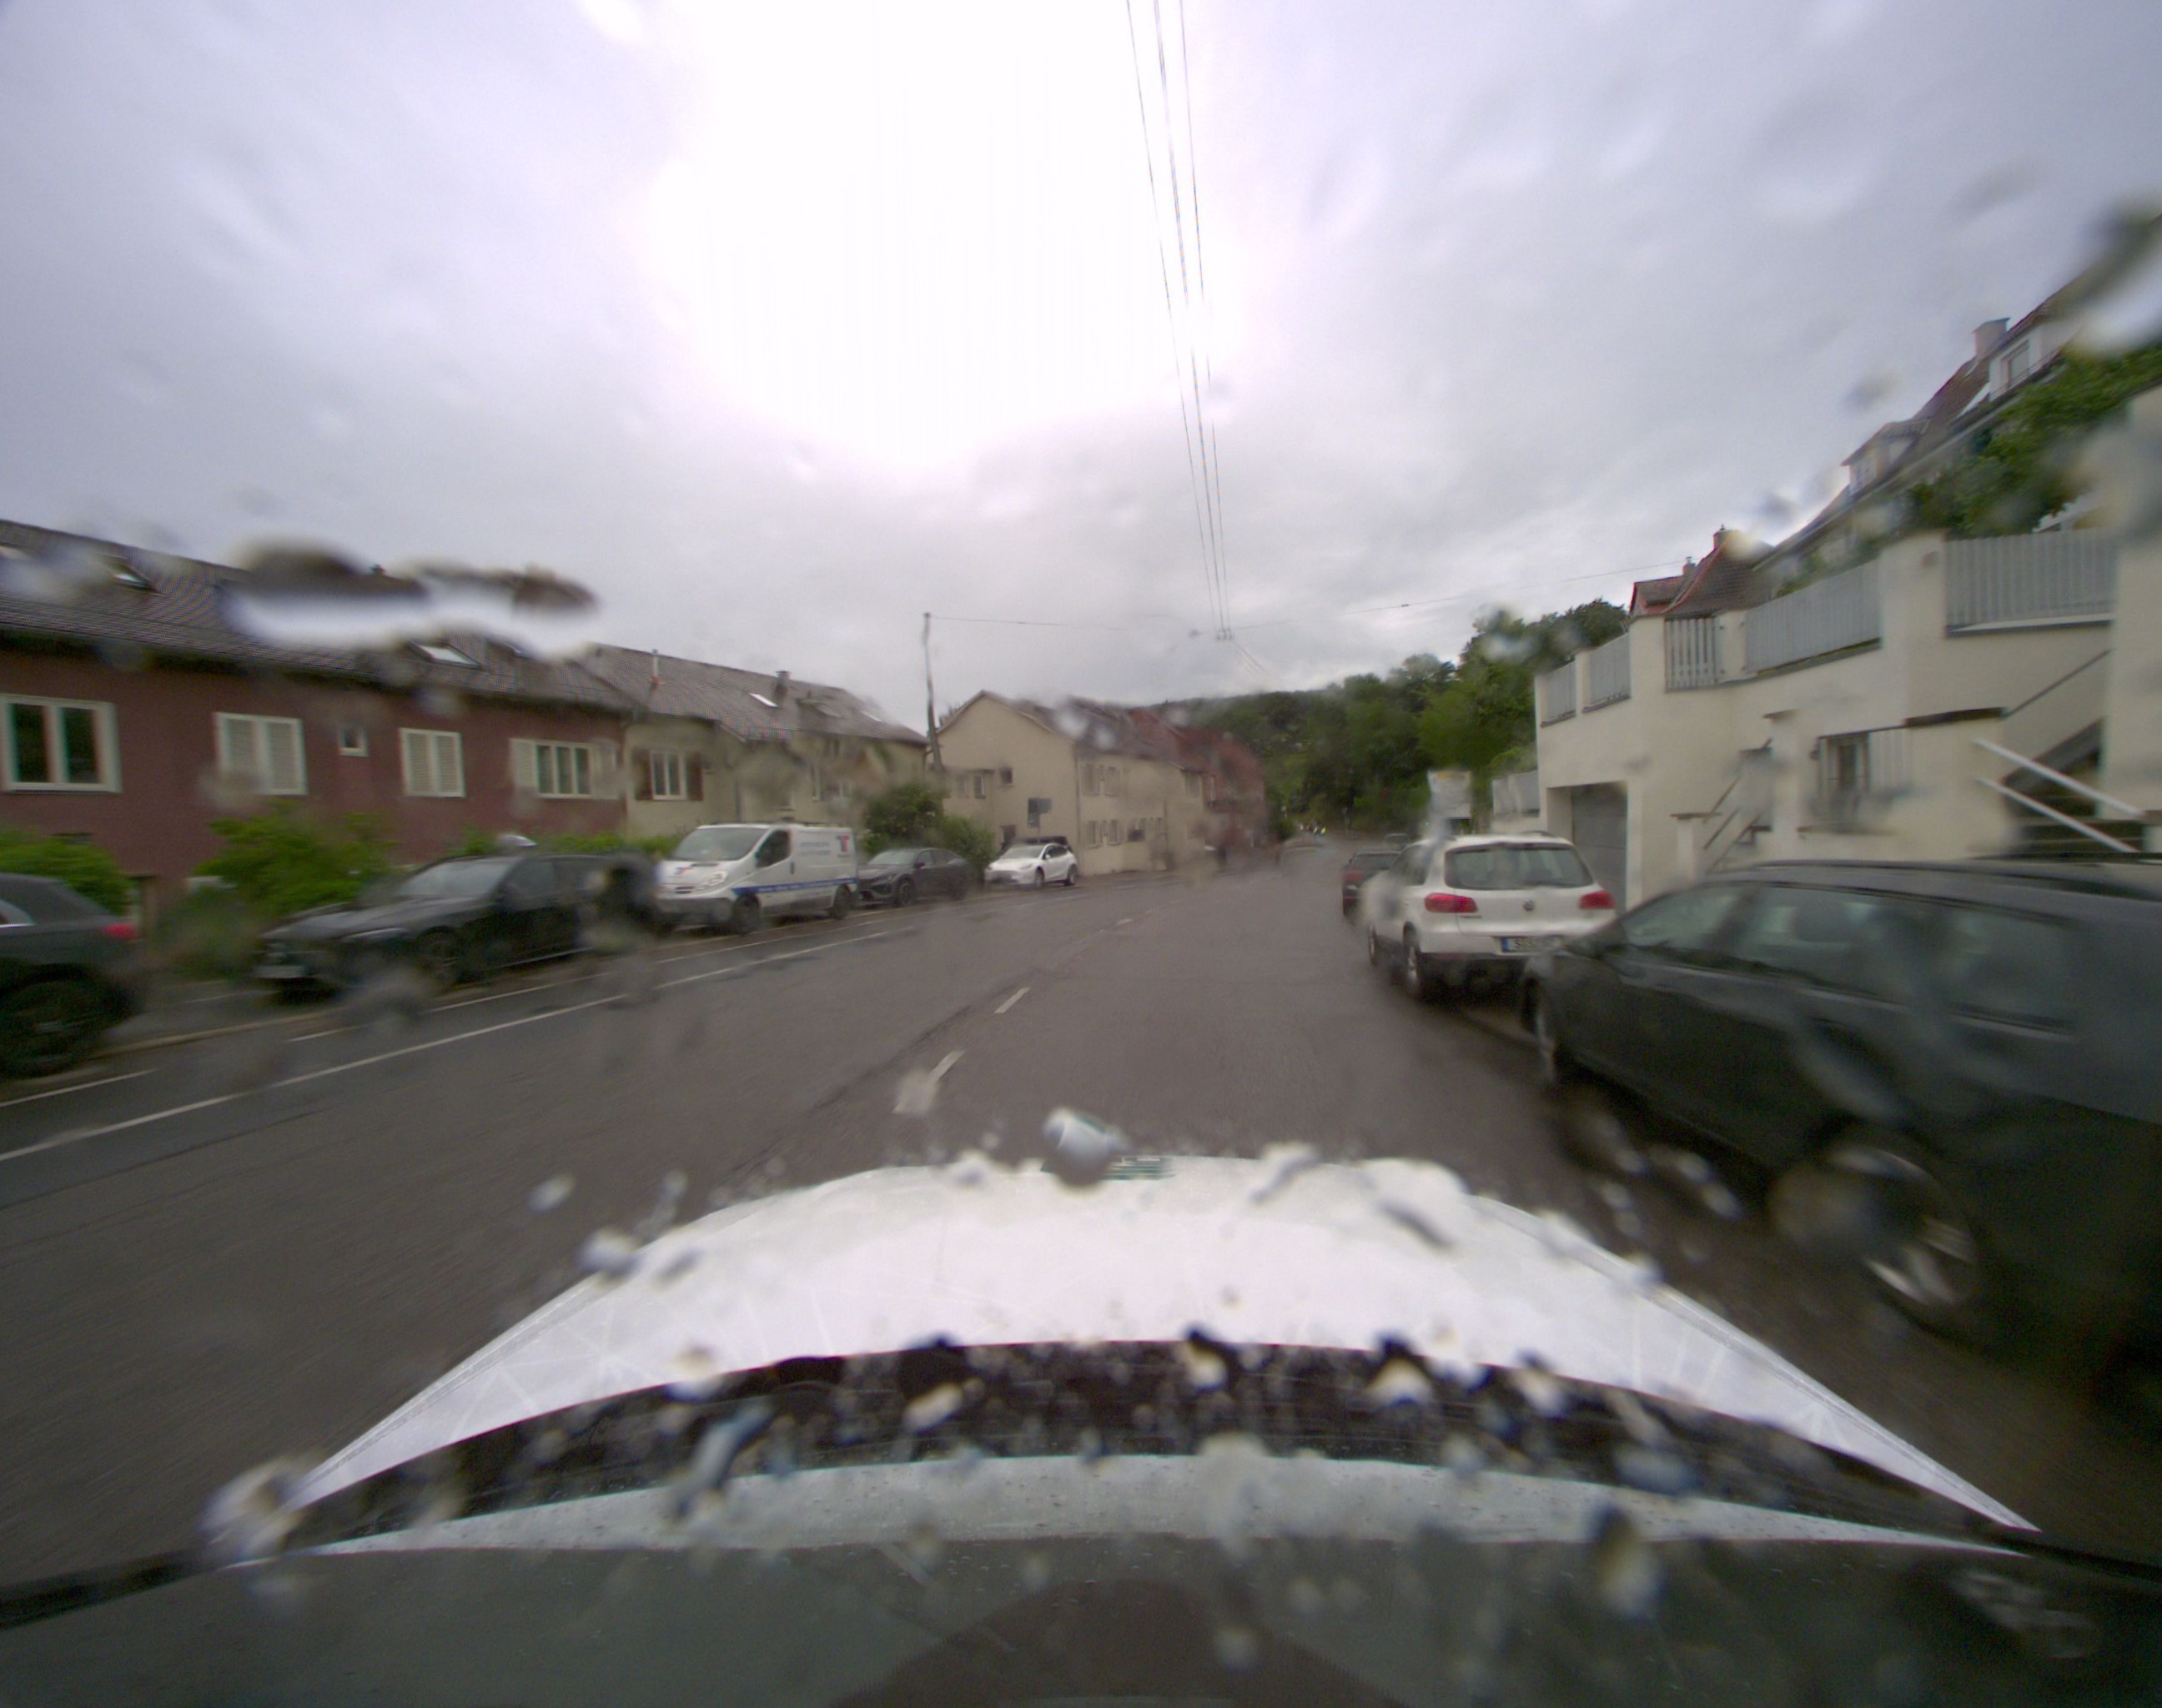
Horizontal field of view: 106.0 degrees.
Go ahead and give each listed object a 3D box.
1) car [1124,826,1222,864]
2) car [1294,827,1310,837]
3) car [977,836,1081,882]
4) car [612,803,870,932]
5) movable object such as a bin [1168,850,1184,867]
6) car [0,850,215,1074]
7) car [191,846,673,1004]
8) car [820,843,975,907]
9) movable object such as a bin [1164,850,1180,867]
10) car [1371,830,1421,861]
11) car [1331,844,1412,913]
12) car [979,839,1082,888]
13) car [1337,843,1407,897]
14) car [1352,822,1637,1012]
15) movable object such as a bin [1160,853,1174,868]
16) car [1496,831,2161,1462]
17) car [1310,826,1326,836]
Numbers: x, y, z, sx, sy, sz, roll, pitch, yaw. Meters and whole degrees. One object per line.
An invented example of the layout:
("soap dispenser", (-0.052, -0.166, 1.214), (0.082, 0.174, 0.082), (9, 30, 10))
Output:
("car", (6.622, -0.590, 58.852), (6.594, 2.554, 2.180), (-1, -1, 25))
("car", (38.500, -3.778, 141.865), (1.734, 1.550, 4.004), (-4, 1, 3))
("car", (-2.482, 0.234, 38.954), (4.450, 2.013, 1.898), (-2, 1, 21))
("car", (-6.216, 0.206, 15.723), (1.834, 2.079, 5.042), (-1, 0, 16))
("movable object such as a bin", (5.985, 0.293, 51.167), (0.774, 1.046, 0.742), (-1, 0, 24))
("car", (-8.262, 0.732, 4.436), (1.796, 1.476, 4.538), (-1, 0, 13))
("car", (-7.329, 0.658, 9.978), (1.797, 1.476, 4.535), (-1, 0, 10))
("car", (-4.641, 0.479, 21.366), (1.793, 1.476, 4.545), (-1, 0, 19))
("movable object such as a bin", (5.624, 0.290, 50.298), (0.774, 1.046, 0.712), (-1, 0, 24))
("car", (21.613, -0.613, 55.824), (2.286, 1.939, 4.353), (-2, 1, 33))
("car", (7.040, 0.513, 19.736), (1.627, 1.436, 4.195), (-1, 1, 20))
("car", (-1.693, 0.306, 29.180), (1.913, 1.631, 4.701), (-1, 0, 20))
("car", (8.919, 0.427, 24.722), (1.773, 1.496, 4.731), (-1, 0, 22))
("car", (4.322, 0.551, 9.289), (1.791, 1.649, 4.223), (-2, 0, 11))
("movable object such as a bin", (5.253, 0.392, 49.569), (0.667, 0.859, 0.712), (-1, 0, 24))
("car", (3.587, 0.677, 3.703), (1.669, 1.483, 4.209), (-1, 0, 7))
("car", (39.431, -3.787, 135.592), (1.733, 1.550, 4.005), (-5, 1, 4))
